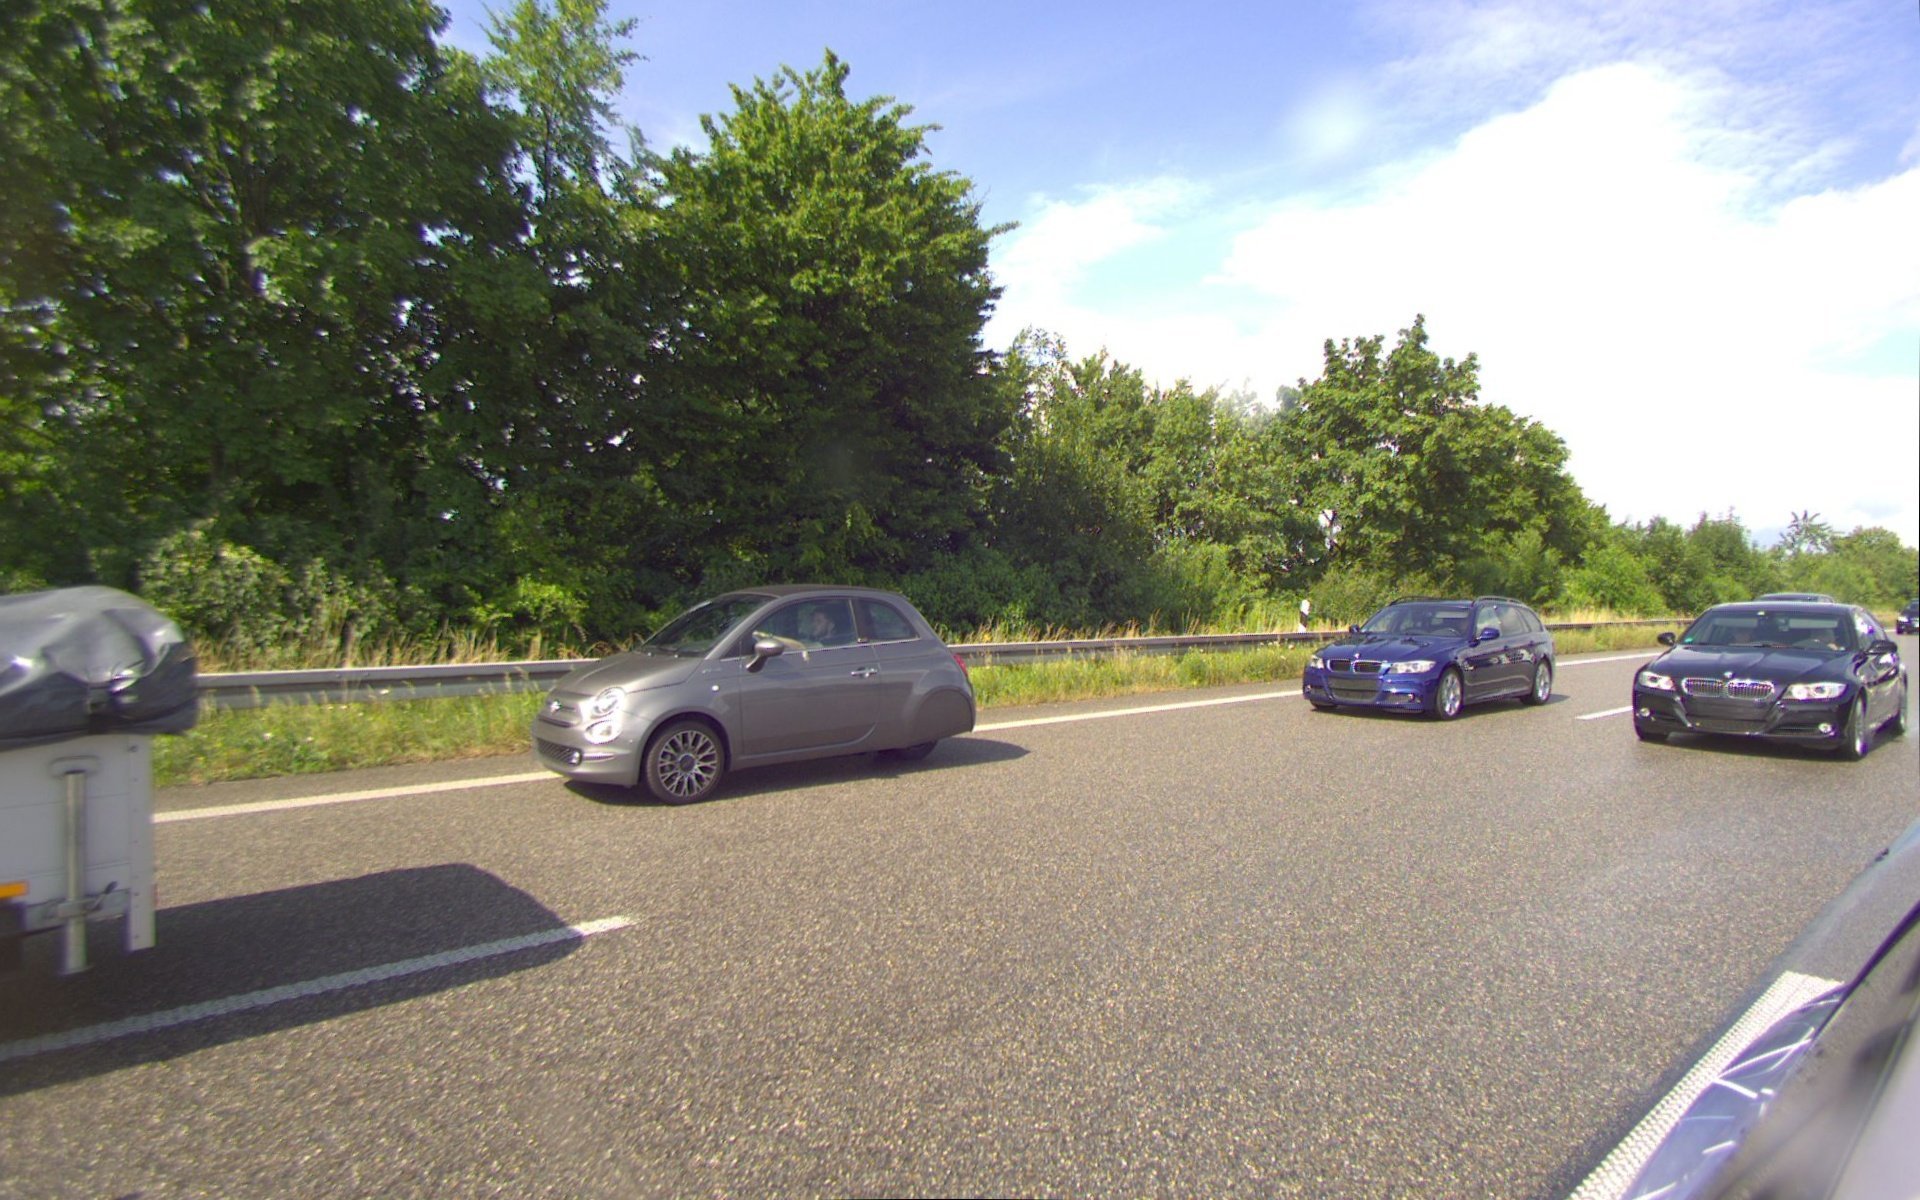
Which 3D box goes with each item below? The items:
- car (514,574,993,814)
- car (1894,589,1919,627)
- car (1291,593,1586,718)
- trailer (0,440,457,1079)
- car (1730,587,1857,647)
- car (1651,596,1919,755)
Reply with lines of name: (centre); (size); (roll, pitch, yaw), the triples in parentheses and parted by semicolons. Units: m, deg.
car: (-1.534, 0.571, 8.090); (3.420, 1.507, 1.615); (0, 1, -41)
car: (41.664, 0.312, 43.467); (3.930, 1.594, 1.866); (0, 1, -41)
car: (6.392, 0.598, 13.302); (4.498, 1.368, 1.771); (0, 1, -40)
trailer: (-3.825, 0.446, 2.943); (3.901, 1.768, 1.807); (0, 0, -44)
car: (22.713, 0.400, 27.531); (4.175, 1.509, 1.997); (0, 1, -41)
car: (8.958, 0.662, 10.727); (3.814, 1.371, 1.721); (0, 0, -40)
